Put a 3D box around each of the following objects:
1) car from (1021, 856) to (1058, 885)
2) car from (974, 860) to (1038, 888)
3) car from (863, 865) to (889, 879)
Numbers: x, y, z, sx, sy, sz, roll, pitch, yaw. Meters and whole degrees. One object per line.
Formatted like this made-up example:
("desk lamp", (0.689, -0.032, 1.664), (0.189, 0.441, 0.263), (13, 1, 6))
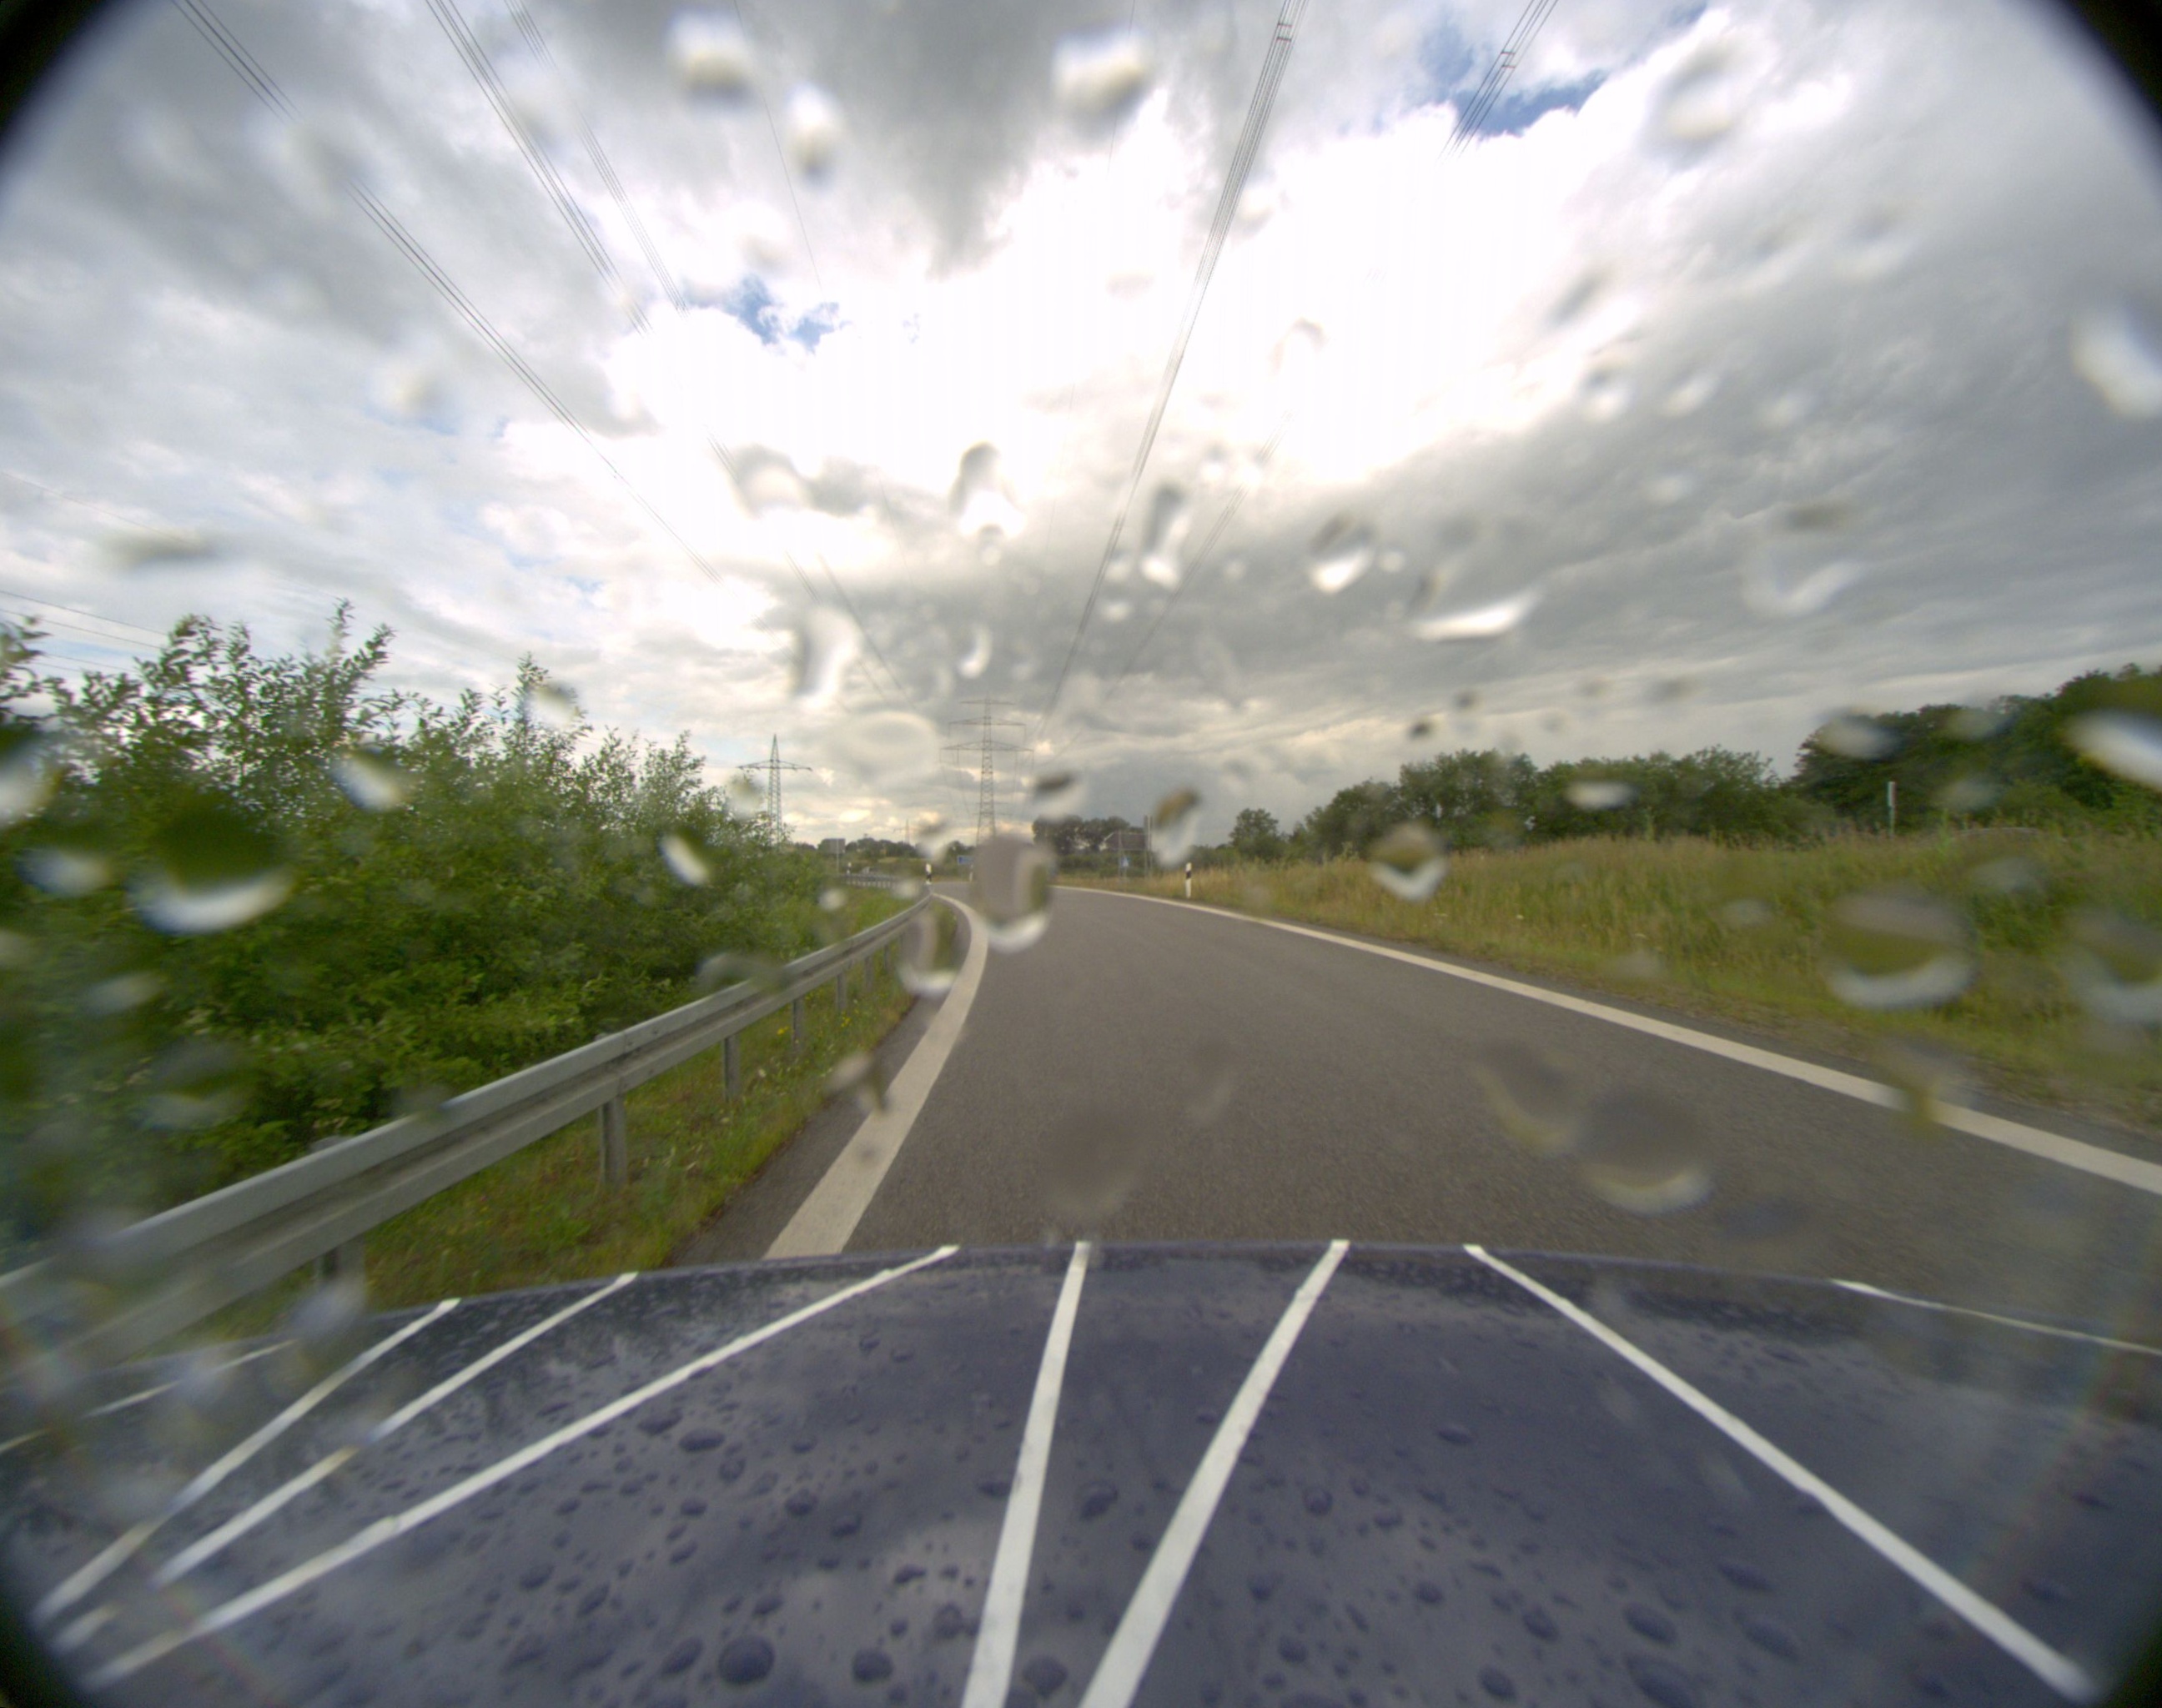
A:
("car", (-4.228, 1.642, 76.011), (2.335, 2.709, 6.275), (0, -1, -17))
("car", (-4.985, 1.286, 50.075), (3.989, 1.742, 2.004), (-1, 0, 43))
("car", (-19.378, 1.698, 71.816), (1.438, 1.169, 3.126), (-3, 1, -32))
